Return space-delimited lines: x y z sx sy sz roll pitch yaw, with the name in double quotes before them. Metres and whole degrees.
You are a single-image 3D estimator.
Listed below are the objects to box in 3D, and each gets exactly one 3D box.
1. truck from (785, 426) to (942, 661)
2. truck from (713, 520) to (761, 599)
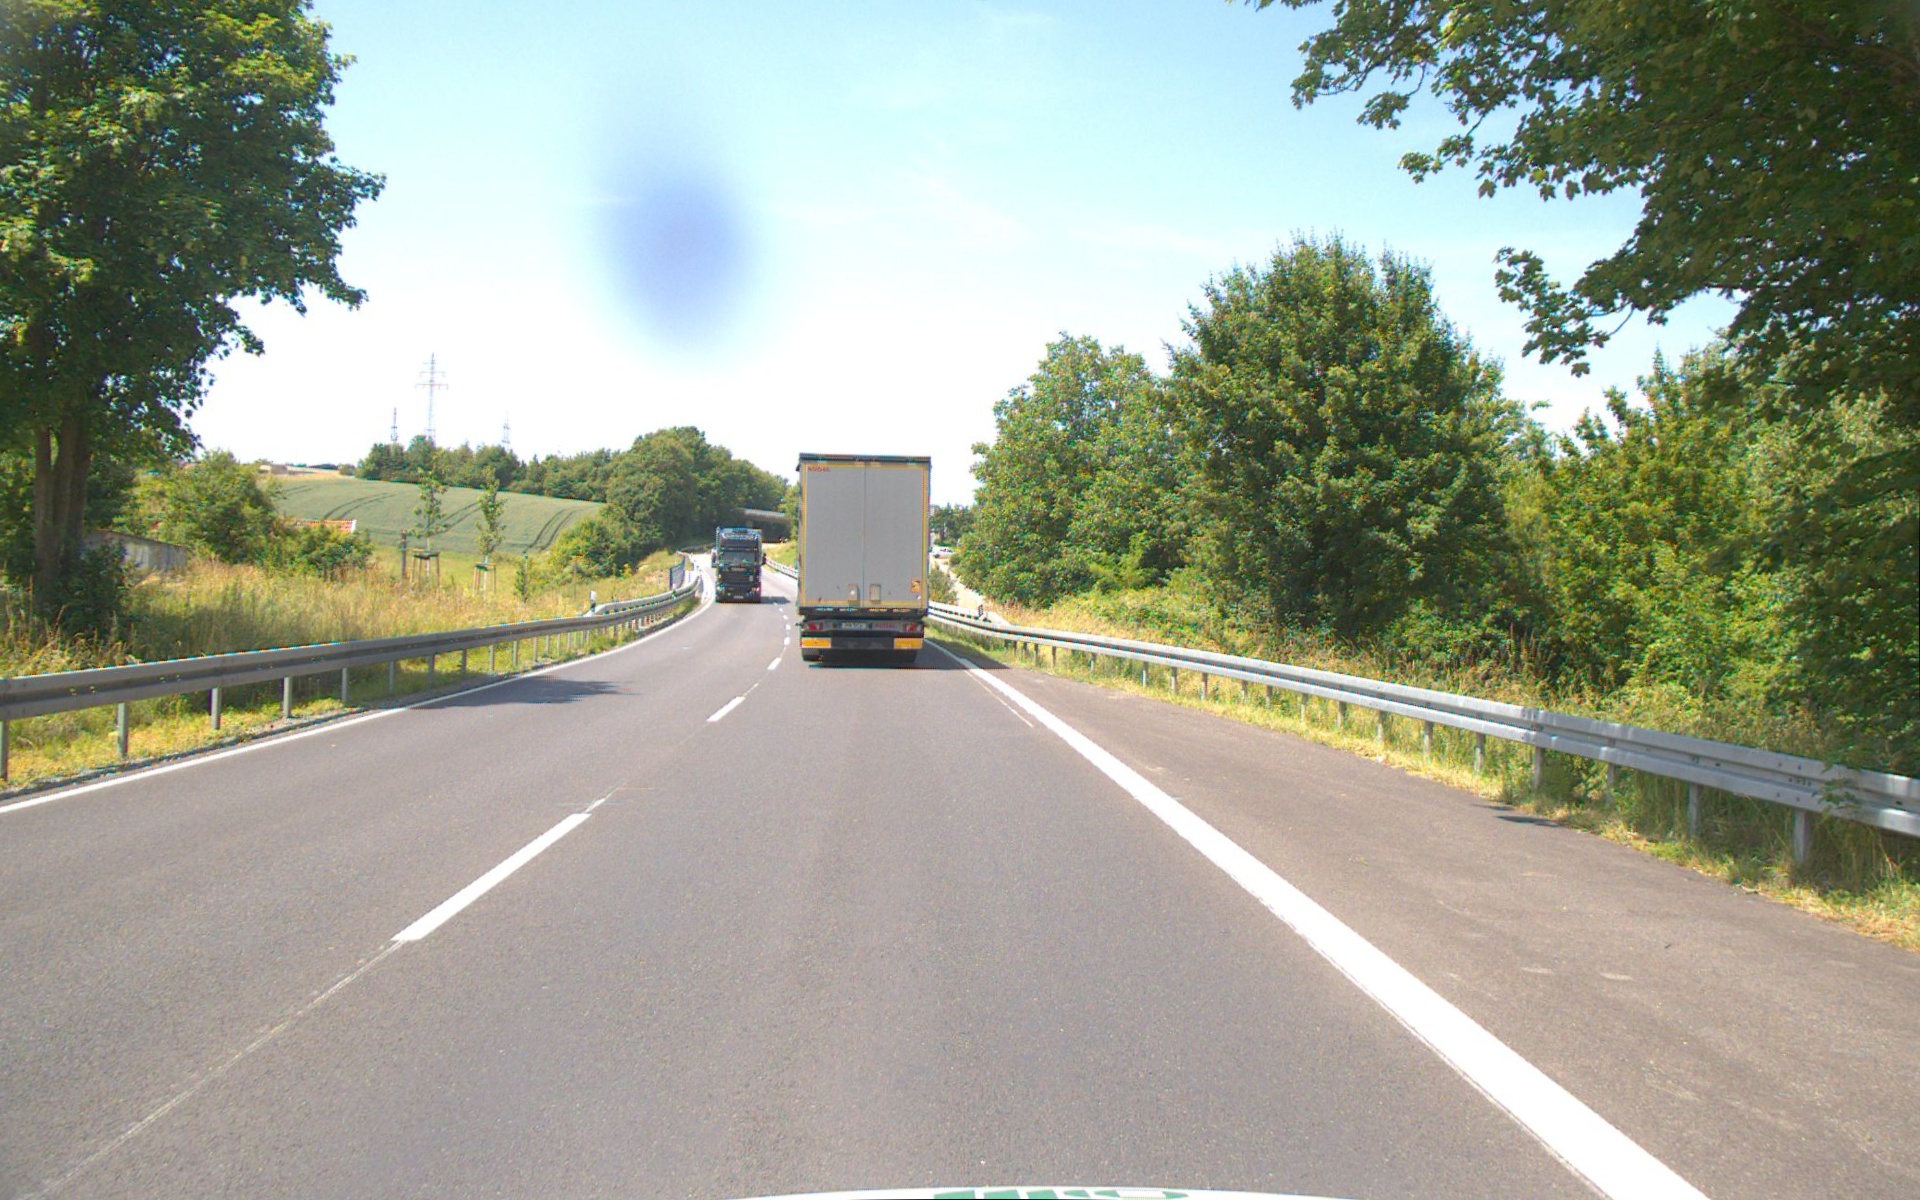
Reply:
"truck" -2.336 -1.118 36.149 2.811 4.435 9.774 0 1 -7
"truck" -12.456 -2.257 92.733 2.398 4.268 5.643 0 1 -5
